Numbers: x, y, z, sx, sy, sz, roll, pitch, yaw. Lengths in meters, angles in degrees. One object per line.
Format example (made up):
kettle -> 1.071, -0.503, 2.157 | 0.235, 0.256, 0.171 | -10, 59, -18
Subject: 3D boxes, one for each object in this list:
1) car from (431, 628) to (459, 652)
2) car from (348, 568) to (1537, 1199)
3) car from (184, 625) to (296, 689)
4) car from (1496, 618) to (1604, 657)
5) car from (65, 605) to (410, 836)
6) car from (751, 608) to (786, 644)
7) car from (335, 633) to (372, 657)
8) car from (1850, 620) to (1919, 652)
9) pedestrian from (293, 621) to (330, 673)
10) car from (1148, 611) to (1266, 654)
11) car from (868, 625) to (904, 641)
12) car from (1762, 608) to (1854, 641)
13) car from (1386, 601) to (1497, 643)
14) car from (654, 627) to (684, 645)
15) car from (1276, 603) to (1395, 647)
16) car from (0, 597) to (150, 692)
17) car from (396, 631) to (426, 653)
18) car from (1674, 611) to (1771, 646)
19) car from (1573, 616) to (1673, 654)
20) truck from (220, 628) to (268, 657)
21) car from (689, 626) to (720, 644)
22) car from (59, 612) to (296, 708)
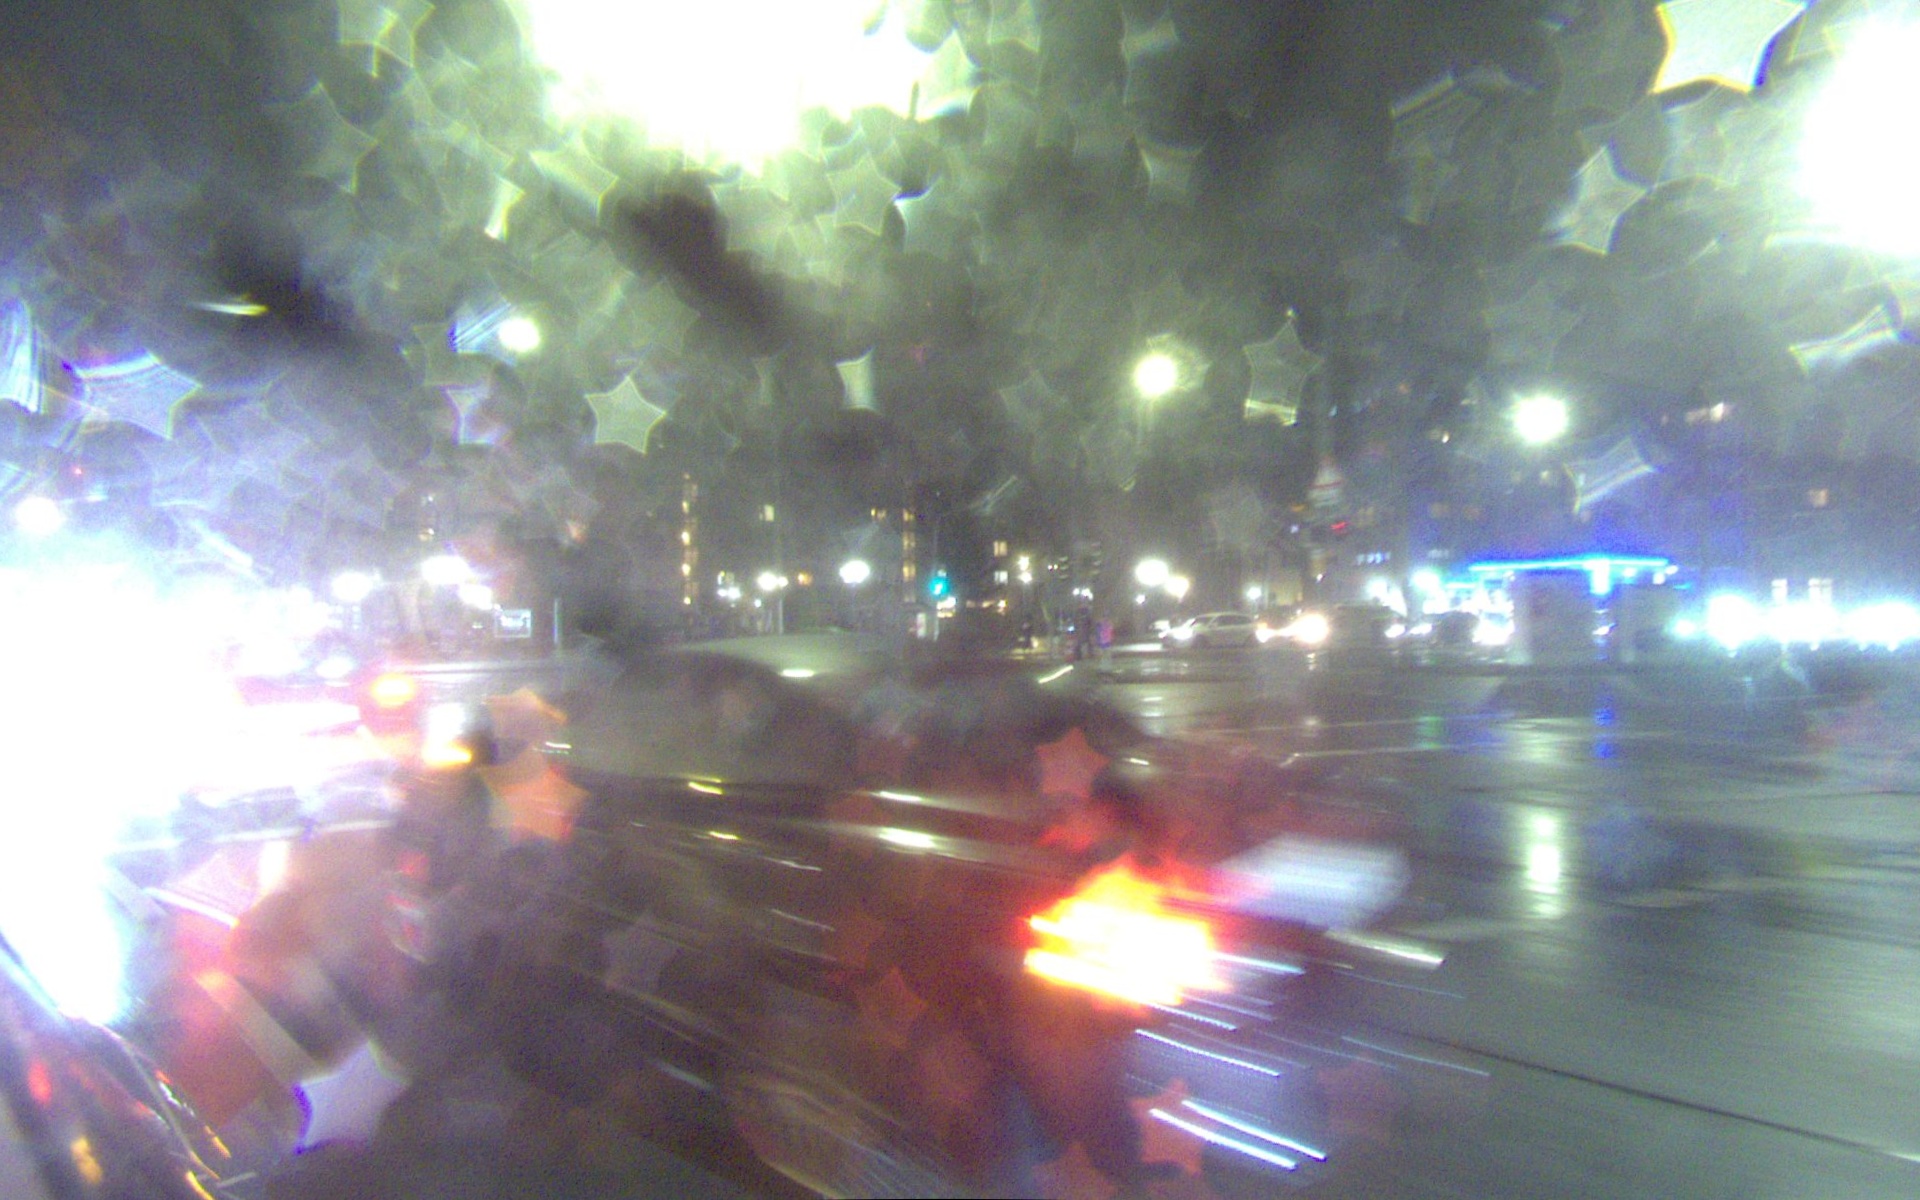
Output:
car -> -41.089, 3.182, 80.852 | 1.838, 1.774, 4.508 | -1, -2, -25
car -> -0.499, 0.731, 3.526 | 4.095, 1.431, 1.651 | -2, -2, 41
car -> -18.702, 1.428, 26.227 | 1.743, 1.498, 4.062 | 0, -2, -45
car -> 27.826, 1.753, 47.728 | 4.657, 1.756, 1.904 | 0, -2, -22
car -> -6.459, 0.884, 8.876 | 4.006, 1.574, 1.651 | -2, -2, 42
car -> -15.226, 2.065, 80.353 | 1.689, 2.752, 4.369 | -1, -2, -25
car -> -40.856, 3.018, 68.263 | 1.689, 1.532, 3.931 | -1, -2, -25
car -> 54.264, 2.088, 58.820 | 4.657, 1.756, 1.904 | 0, -2, -22
pedestrian -> -22.578, 1.629, 35.247 | 0.758, 1.749, 0.972 | -1, -2, -10
car -> 9.835, 1.288, 40.272 | 4.258, 1.581, 1.904 | 0, -2, -25
car -> -6.916, 3.110, 94.599 | 1.838, 1.454, 4.508 | -1, -2, -25
car -> 47.020, 1.339, 56.097 | 4.657, 1.756, 1.904 | 0, -2, -22
car -> 21.457, 0.973, 45.063 | 4.657, 1.756, 1.904 | 0, -2, -25
car -> -25.281, 3.124, 87.874 | 1.838, 1.454, 4.508 | -1, -2, -25
car -> 15.793, 1.045, 42.563 | 4.657, 1.756, 1.904 | 0, -2, -25
car -> -20.647, 1.057, 23.513 | 5.198, 1.968, 2.012 | -4, -3, 42
car -> -43.551, 3.311, 80.355 | 1.838, 1.625, 4.508 | -1, -2, -25
car -> 40.050, 1.484, 53.163 | 4.657, 1.756, 1.904 | 0, -2, -22
car -> 32.497, 1.720, 49.611 | 4.657, 1.756, 1.904 | 0, -2, -25
truck -> -53.119, 3.146, 75.155 | 2.093, 2.029, 5.279 | -1, -2, -26
car -> -22.537, 3.074, 89.165 | 1.838, 1.454, 4.508 | -1, -2, -25
car -> -14.188, 1.038, 18.284 | 4.708, 1.554, 1.805 | -2, -2, 31
